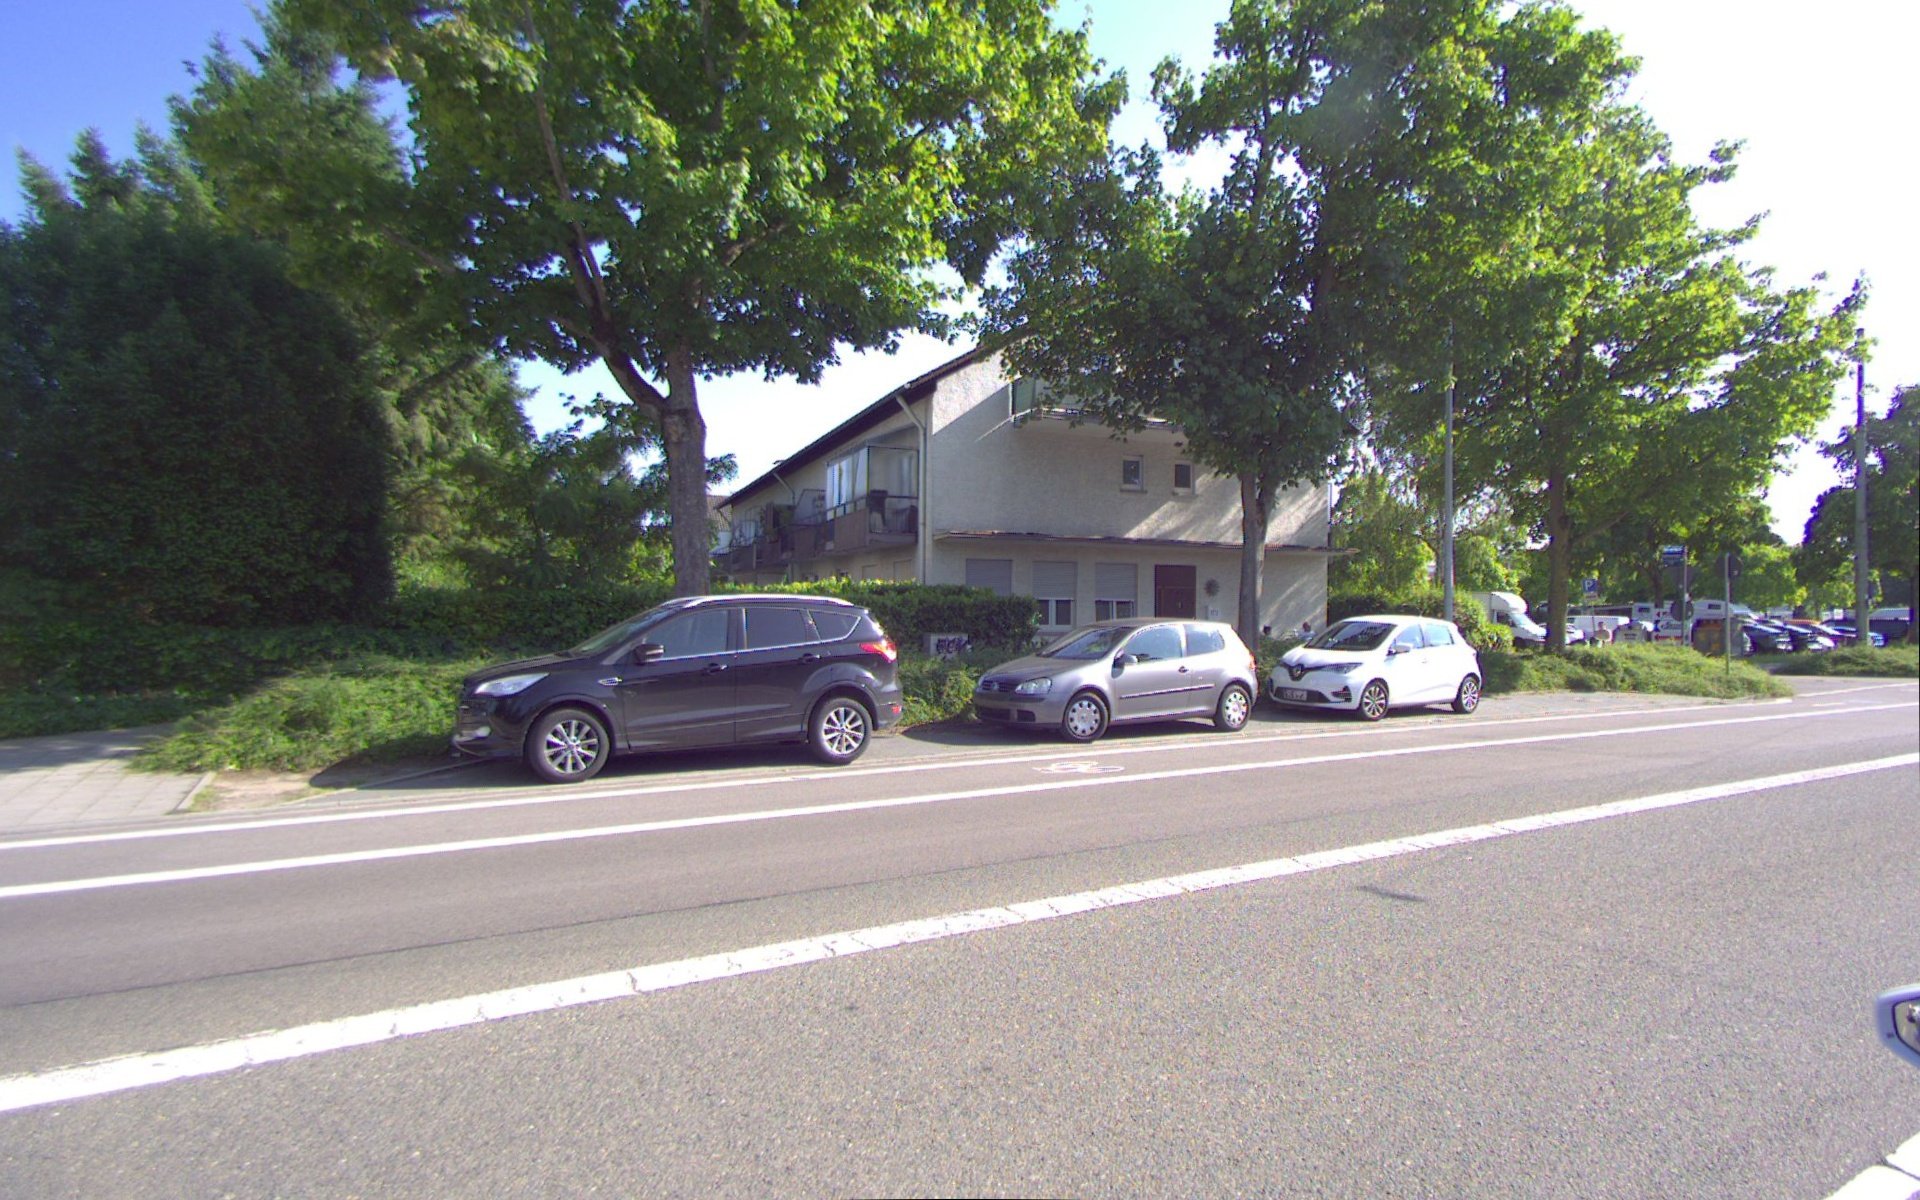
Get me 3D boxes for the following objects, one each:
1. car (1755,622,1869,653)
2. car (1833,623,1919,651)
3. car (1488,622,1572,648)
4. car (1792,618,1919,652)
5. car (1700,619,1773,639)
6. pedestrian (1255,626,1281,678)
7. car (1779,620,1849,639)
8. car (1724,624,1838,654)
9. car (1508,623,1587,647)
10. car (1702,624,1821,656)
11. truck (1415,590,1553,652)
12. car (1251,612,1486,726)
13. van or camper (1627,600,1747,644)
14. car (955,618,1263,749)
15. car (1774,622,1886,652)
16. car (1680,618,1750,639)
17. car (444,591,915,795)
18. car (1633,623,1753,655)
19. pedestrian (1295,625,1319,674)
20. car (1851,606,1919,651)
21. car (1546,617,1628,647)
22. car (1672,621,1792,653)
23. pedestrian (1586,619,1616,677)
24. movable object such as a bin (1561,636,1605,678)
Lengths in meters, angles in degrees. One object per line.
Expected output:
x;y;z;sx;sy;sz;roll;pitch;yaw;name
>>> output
41.516;1.802;49.021;1.719;1.416;3.964;1;-1;-33;car
49.854;1.957;54.124;1.719;1.416;3.964;1;-1;-33;car
33.531;2.027;59.189;1.719;1.477;3.964;1;-1;-33;car
46.071;1.760;51.721;2.026;1.673;4.593;1;-1;-31;car
57.325;2.096;74.215;1.719;1.416;3.964;1;-1;-33;car
7.030;1.186;22.912;0.440;1.177;0.345;1;0;-22;pedestrian
67.733;2.300;79.720;1.719;1.416;3.964;1;-1;-33;car
39.409;1.859;48.307;1.719;1.324;3.964;1;-1;-33;car
35.674;2.120;61.099;1.604;1.379;3.976;1;-1;-24;car
36.846;1.806;46.250;1.719;1.324;3.964;1;-1;-33;car
29.331;1.157;56.567;1.965;3.285;6.925;1;-1;-31;truck
6.626;1.024;16.169;3.853;1.571;1.591;1;1;-34;car
50.374;1.444;69.775;2.279;2.906;6.436;1;0;-29;van or camper
2.025;0.999;13.291;3.925;1.488;1.667;1;0;-33;car
43.903;1.848;50.762;1.719;1.416;3.964;1;-1;-33;car
53.291;1.967;70.958;1.719;1.416;3.642;1;-1;-33;car
-2.792;0.814;10.294;4.370;1.716;1.704;1;0;-30;car
32.263;1.677;44.310;1.719;1.324;3.964;1;-1;-33;car
8.866;1.271;25.679;0.385;1.233;0.444;1;0;-22;pedestrian
53.045;1.566;55.539;2.062;2.456;5.351;1;-1;-29;car
38.177;1.928;61.194;1.611;1.751;3.959;1;-1;-36;car
34.569;1.644;45.067;1.719;1.324;3.964;1;-1;-33;car
18.445;1.375;28.907;0.603;1.649;0.522;1;-1;-30;pedestrian
17.641;1.610;28.439;1.246;1.161;0.539;1;-1;-30;movable object such as a bin
